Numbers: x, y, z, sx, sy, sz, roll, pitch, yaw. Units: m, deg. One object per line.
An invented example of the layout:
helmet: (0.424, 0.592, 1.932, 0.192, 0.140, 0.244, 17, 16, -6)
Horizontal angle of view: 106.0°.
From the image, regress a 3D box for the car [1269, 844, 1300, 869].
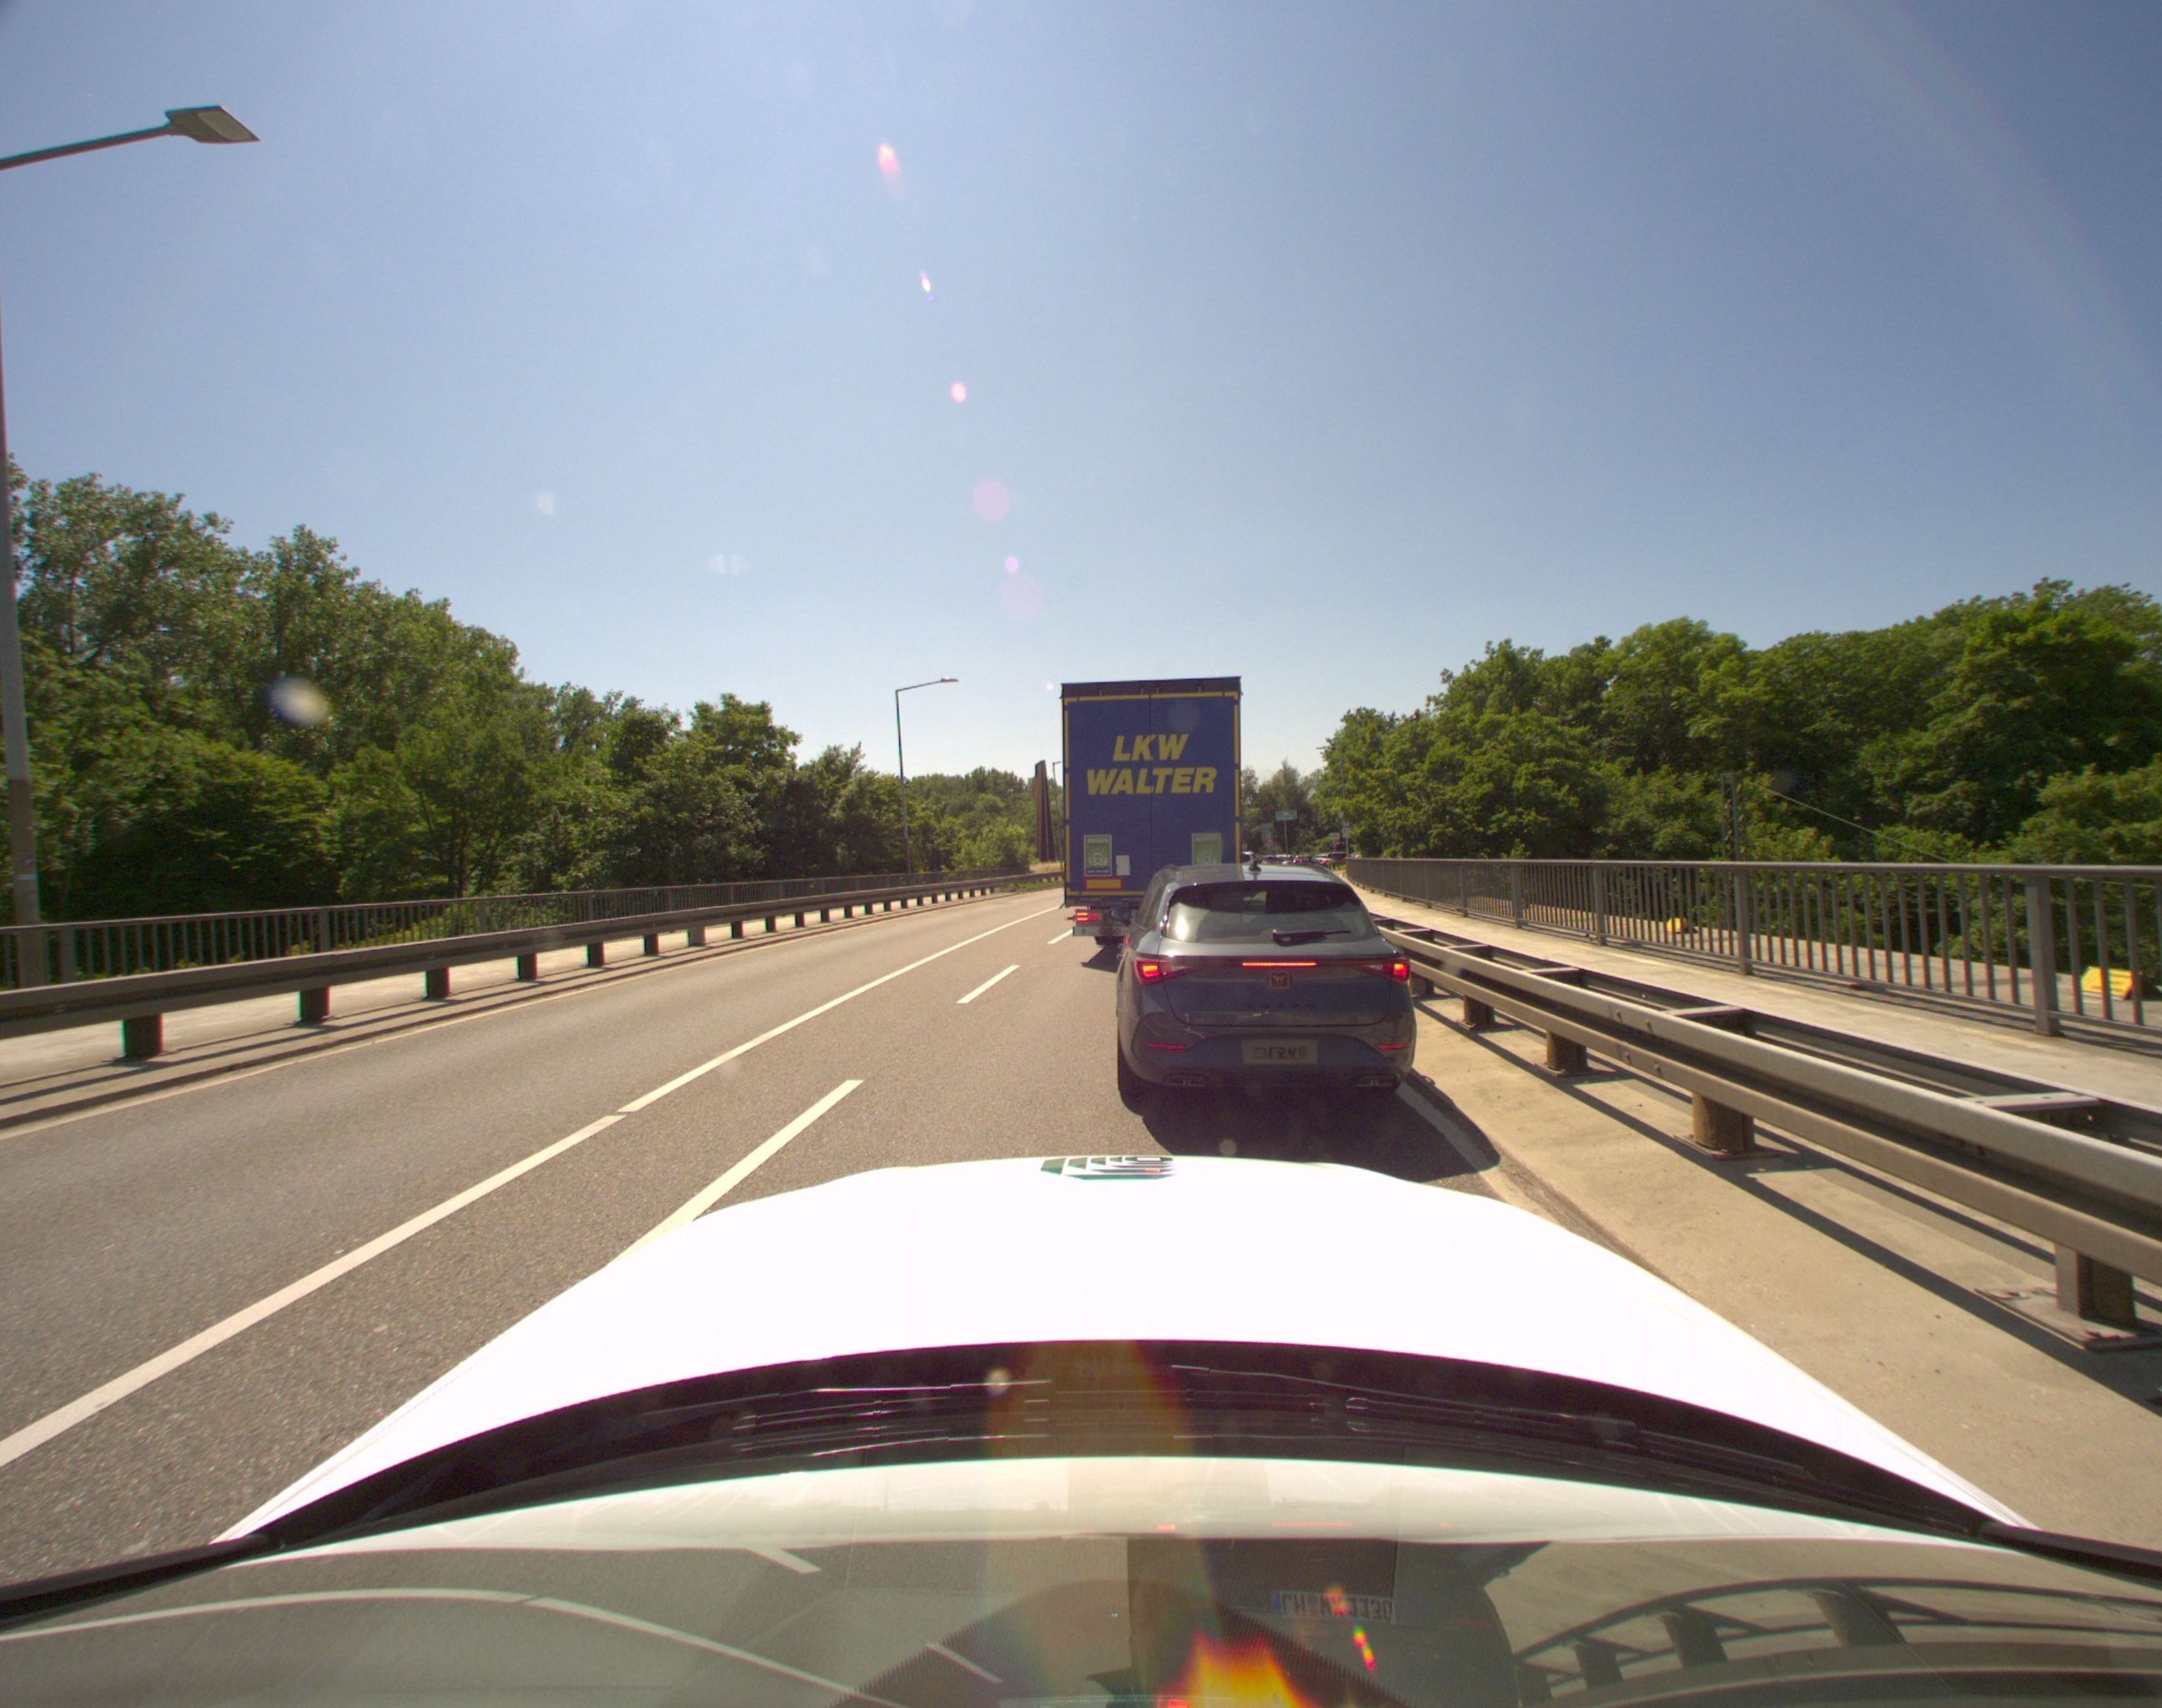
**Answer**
car: (15.351, 0.175, 61.304, 1.706, 1.844, 4.021, -1, 0, 21)

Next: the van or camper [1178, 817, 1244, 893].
van or camper: (5.495, 0.020, 33.635, 2.139, 2.815, 6.411, -1, 0, 14)

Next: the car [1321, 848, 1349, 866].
car: (24.967, 0.289, 79.945, 1.669, 1.760, 4.025, -2, -1, 30)

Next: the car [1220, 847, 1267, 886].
car: (8.232, 0.600, 40.946, 1.706, 1.844, 4.020, -1, 0, 20)

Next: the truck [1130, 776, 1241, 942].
truck: (3.343, 0.141, 25.113, 2.887, 4.418, 6.573, -1, 0, 10)

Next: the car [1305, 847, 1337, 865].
car: (21.847, 0.212, 74.044, 1.975, 1.575, 4.024, 0, -1, 28)

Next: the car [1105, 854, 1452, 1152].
car: (1.117, 0.753, 6.019, 1.669, 1.456, 3.963, -1, 0, 4)

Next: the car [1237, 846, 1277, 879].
car: (10.260, 0.483, 47.221, 1.706, 1.802, 4.020, -1, 0, 20)

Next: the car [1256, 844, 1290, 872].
car: (13.070, 0.242, 55.240, 1.706, 1.844, 4.021, -1, 0, 21)

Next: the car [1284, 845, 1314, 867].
car: (18.231, 0.208, 67.883, 1.670, 1.760, 4.023, -1, -1, 25)

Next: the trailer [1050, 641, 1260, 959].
trailer: (2.059, -0.747, 17.665, 2.887, 4.418, 12.466, -1, 0, 10)
